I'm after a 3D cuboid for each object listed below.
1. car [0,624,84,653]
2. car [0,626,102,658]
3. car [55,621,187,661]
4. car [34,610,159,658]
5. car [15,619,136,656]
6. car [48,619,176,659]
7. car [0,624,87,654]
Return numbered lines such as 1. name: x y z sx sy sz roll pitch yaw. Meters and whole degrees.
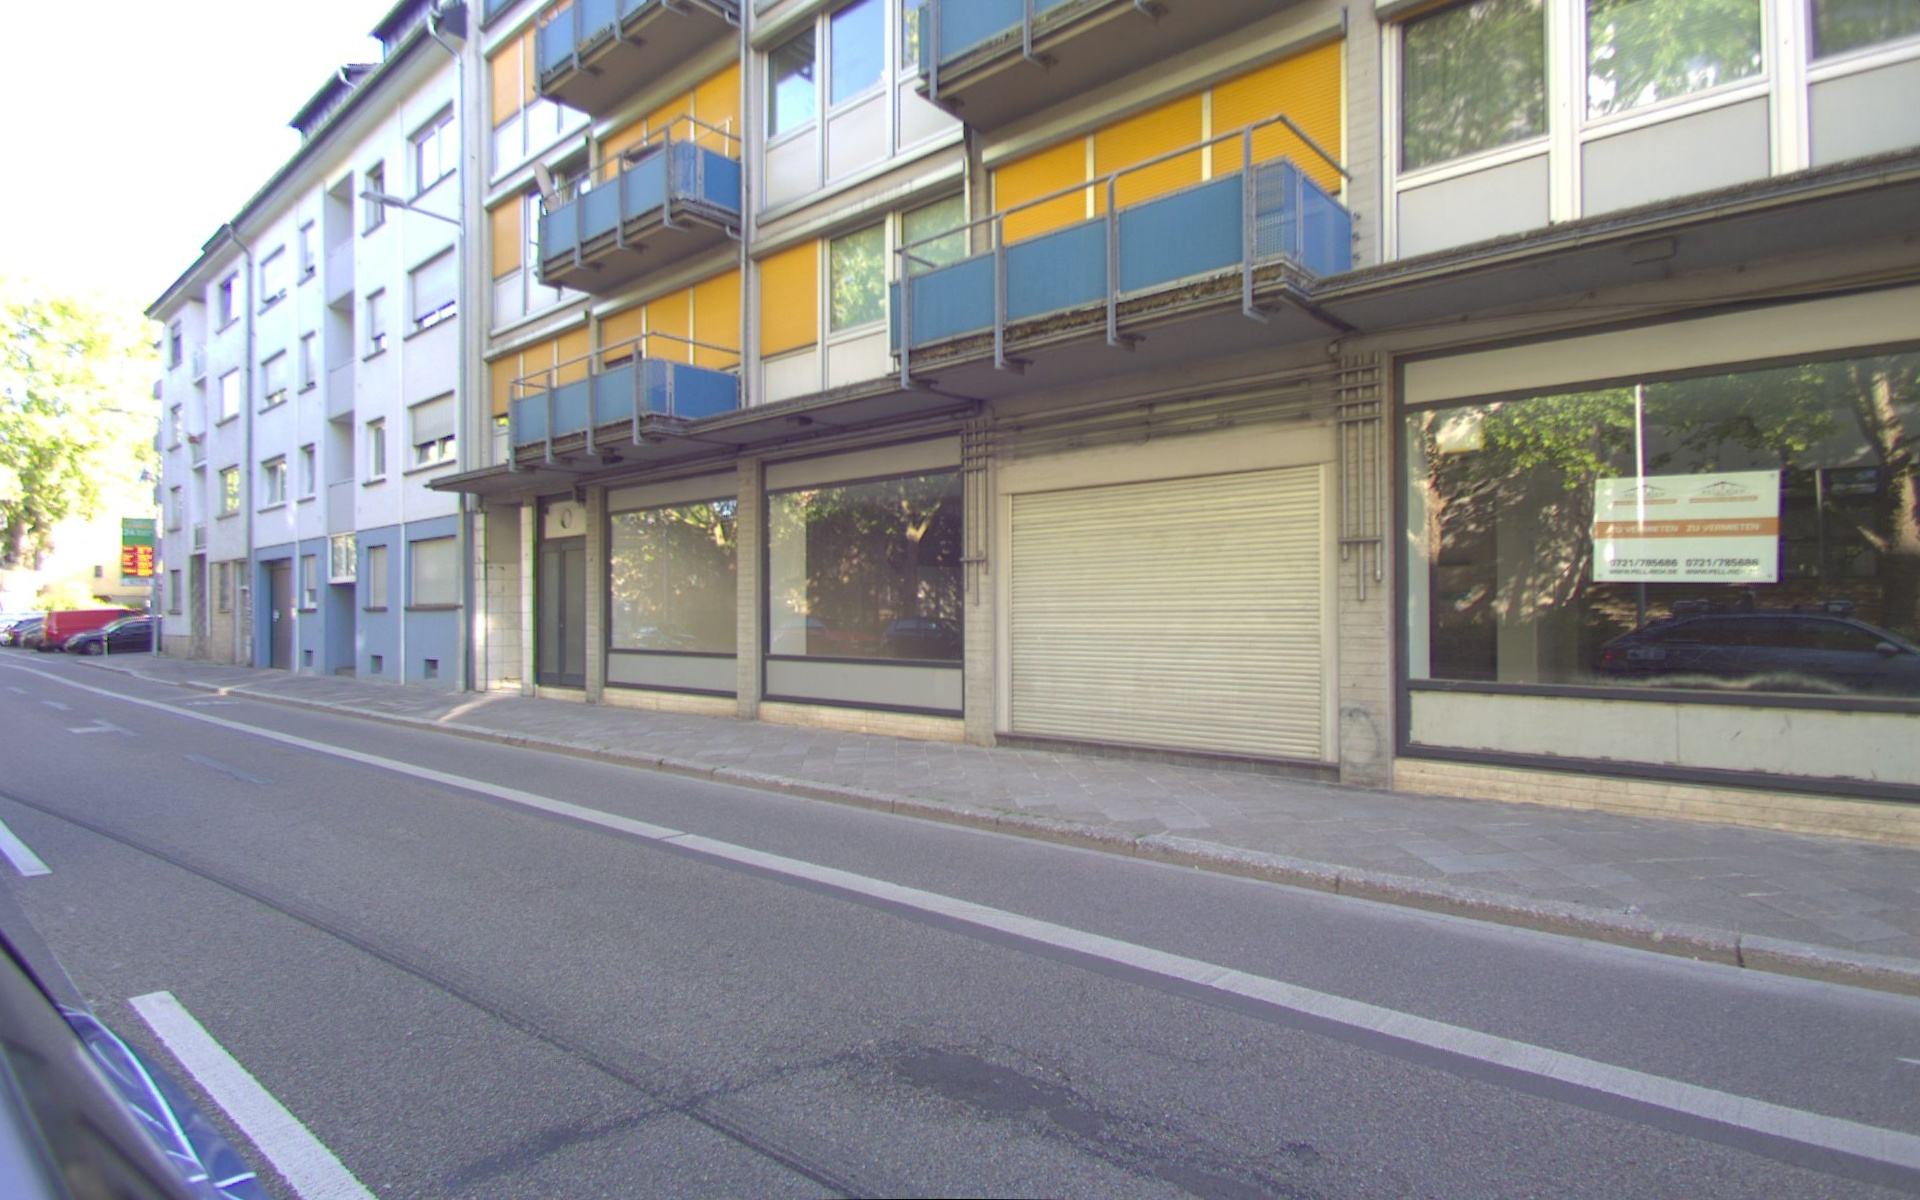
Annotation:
1. car: -55.885 2.294 61.196 1.652 1.480 4.201 -1 1 41
2. car: -50.470 2.288 56.103 1.652 1.480 4.201 -1 1 41
3. car: -36.500 1.741 44.093 1.652 1.411 4.201 -1 1 41
4. car: -40.574 1.555 47.618 1.817 1.933 4.202 -1 1 40
5. car: -42.762 1.786 49.013 1.652 1.480 4.201 -1 1 41
6. car: -38.193 1.727 45.656 1.652 1.480 4.201 -1 1 41
7. car: -54.503 2.274 59.788 1.652 1.480 4.201 -1 1 41
